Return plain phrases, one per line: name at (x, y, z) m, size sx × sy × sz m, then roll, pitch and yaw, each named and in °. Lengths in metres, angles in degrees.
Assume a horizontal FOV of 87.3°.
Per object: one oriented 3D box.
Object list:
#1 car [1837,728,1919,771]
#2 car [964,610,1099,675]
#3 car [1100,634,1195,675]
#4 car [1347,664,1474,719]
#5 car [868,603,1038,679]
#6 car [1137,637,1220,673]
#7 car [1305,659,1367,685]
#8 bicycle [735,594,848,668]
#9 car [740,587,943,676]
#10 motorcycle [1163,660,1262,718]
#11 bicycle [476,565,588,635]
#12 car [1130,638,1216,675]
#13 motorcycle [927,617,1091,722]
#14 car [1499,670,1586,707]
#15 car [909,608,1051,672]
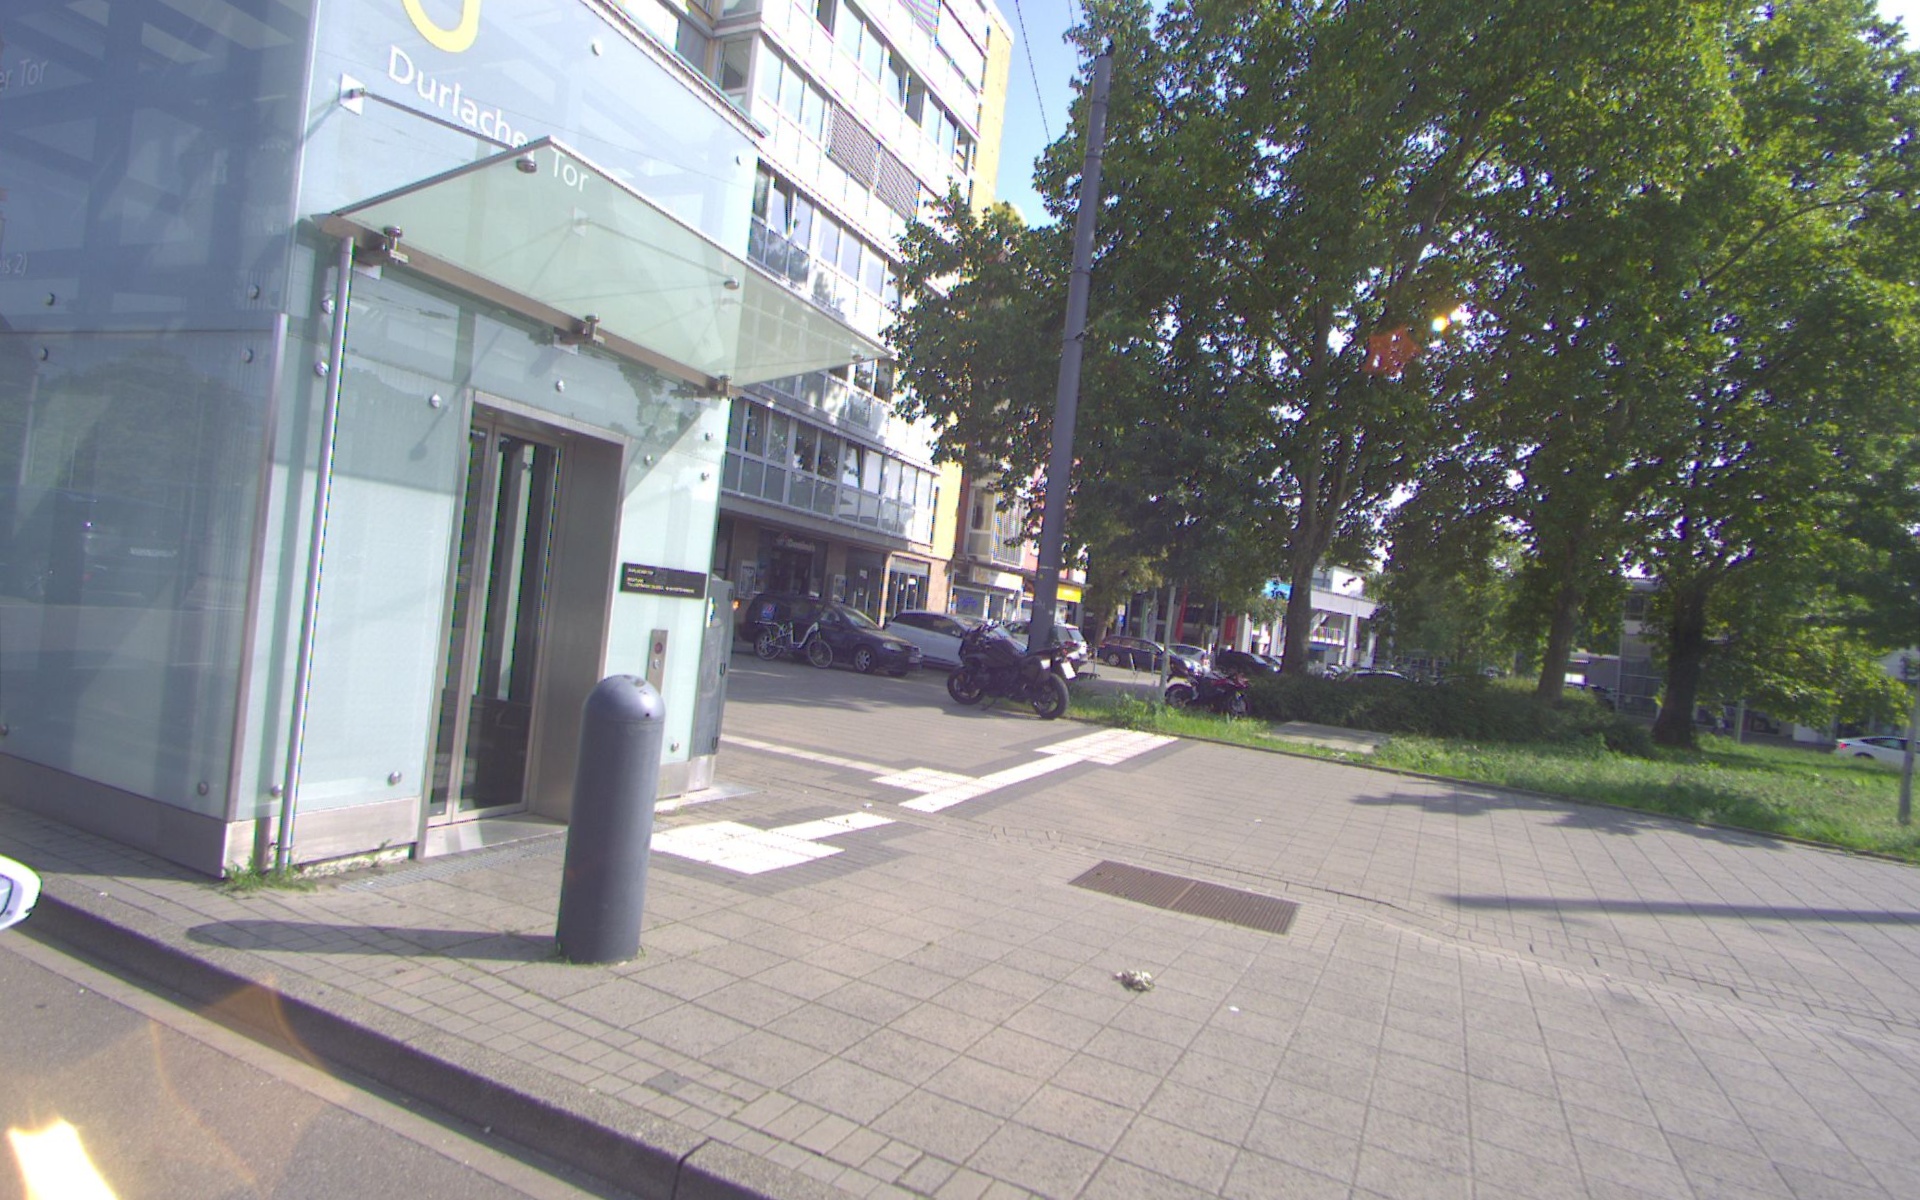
car at (35.441, 5.696, 37.176) m, size 1.988 × 1.180 × 4.343 m, roll 7°, pitch 0°, yaw -44°
car at (2.403, 1.431, 33.877) m, size 3.930 × 1.665 × 1.998 m, roll 6°, pitch 0°, yaw 27°
car at (8.798, 2.563, 47.204) m, size 3.929 × 1.393 × 1.998 m, roll 6°, pitch 0°, yaw 26°
car at (16.113, 3.242, 36.098) m, size 3.929 × 1.393 × 1.998 m, roll 6°, pitch 0°, yaw 26°
car at (-0.201, 1.085, 26.783) m, size 3.930 × 1.526 × 1.998 m, roll 6°, pitch 0°, yaw 27°
car at (11.689, 2.922, 53.727) m, size 3.929 × 1.393 × 1.741 m, roll 6°, pitch 0°, yaw 26°
car at (28.550, 5.461, 76.379) m, size 3.948 × 1.393 × 1.733 m, roll 6°, pitch 0°, yaw 44°
bicycle at (-3.516, 0.636, 20.931) m, size 2.259 × 1.250 × 0.524 m, roll 7°, pitch 1°, yaw 22°
car at (-2.644, 0.682, 22.247) m, size 4.121 × 1.459 × 1.660 m, roll 6°, pitch 0°, yaw 27°
motorcycle at (5.574, 1.962, 22.296) m, size 1.930 × 1.014 × 0.702 m, roll 6°, pitch 0°, yaw 42°
bicycle at (-8.504, 0.022, 20.097) m, size 0.659 × 1.221 × 2.021 m, roll 7°, pitch 0°, yaw 26°
car at (11.009, 2.921, 52.056) m, size 3.929 × 1.393 × 1.741 m, roll 6°, pitch 0°, yaw 26°
motorcycle at (0.650, 0.949, 14.108) m, size 2.270 × 1.161 × 0.701 m, roll 6°, pitch 0°, yaw 42°
car at (32.224, 4.915, 55.694) m, size 4.004 × 1.480 × 1.991 m, roll 7°, pitch 0°, yaw -20°
car at (0.640, 1.263, 32.060) m, size 3.930 × 1.526 × 1.998 m, roll 6°, pitch 0°, yaw 27°
